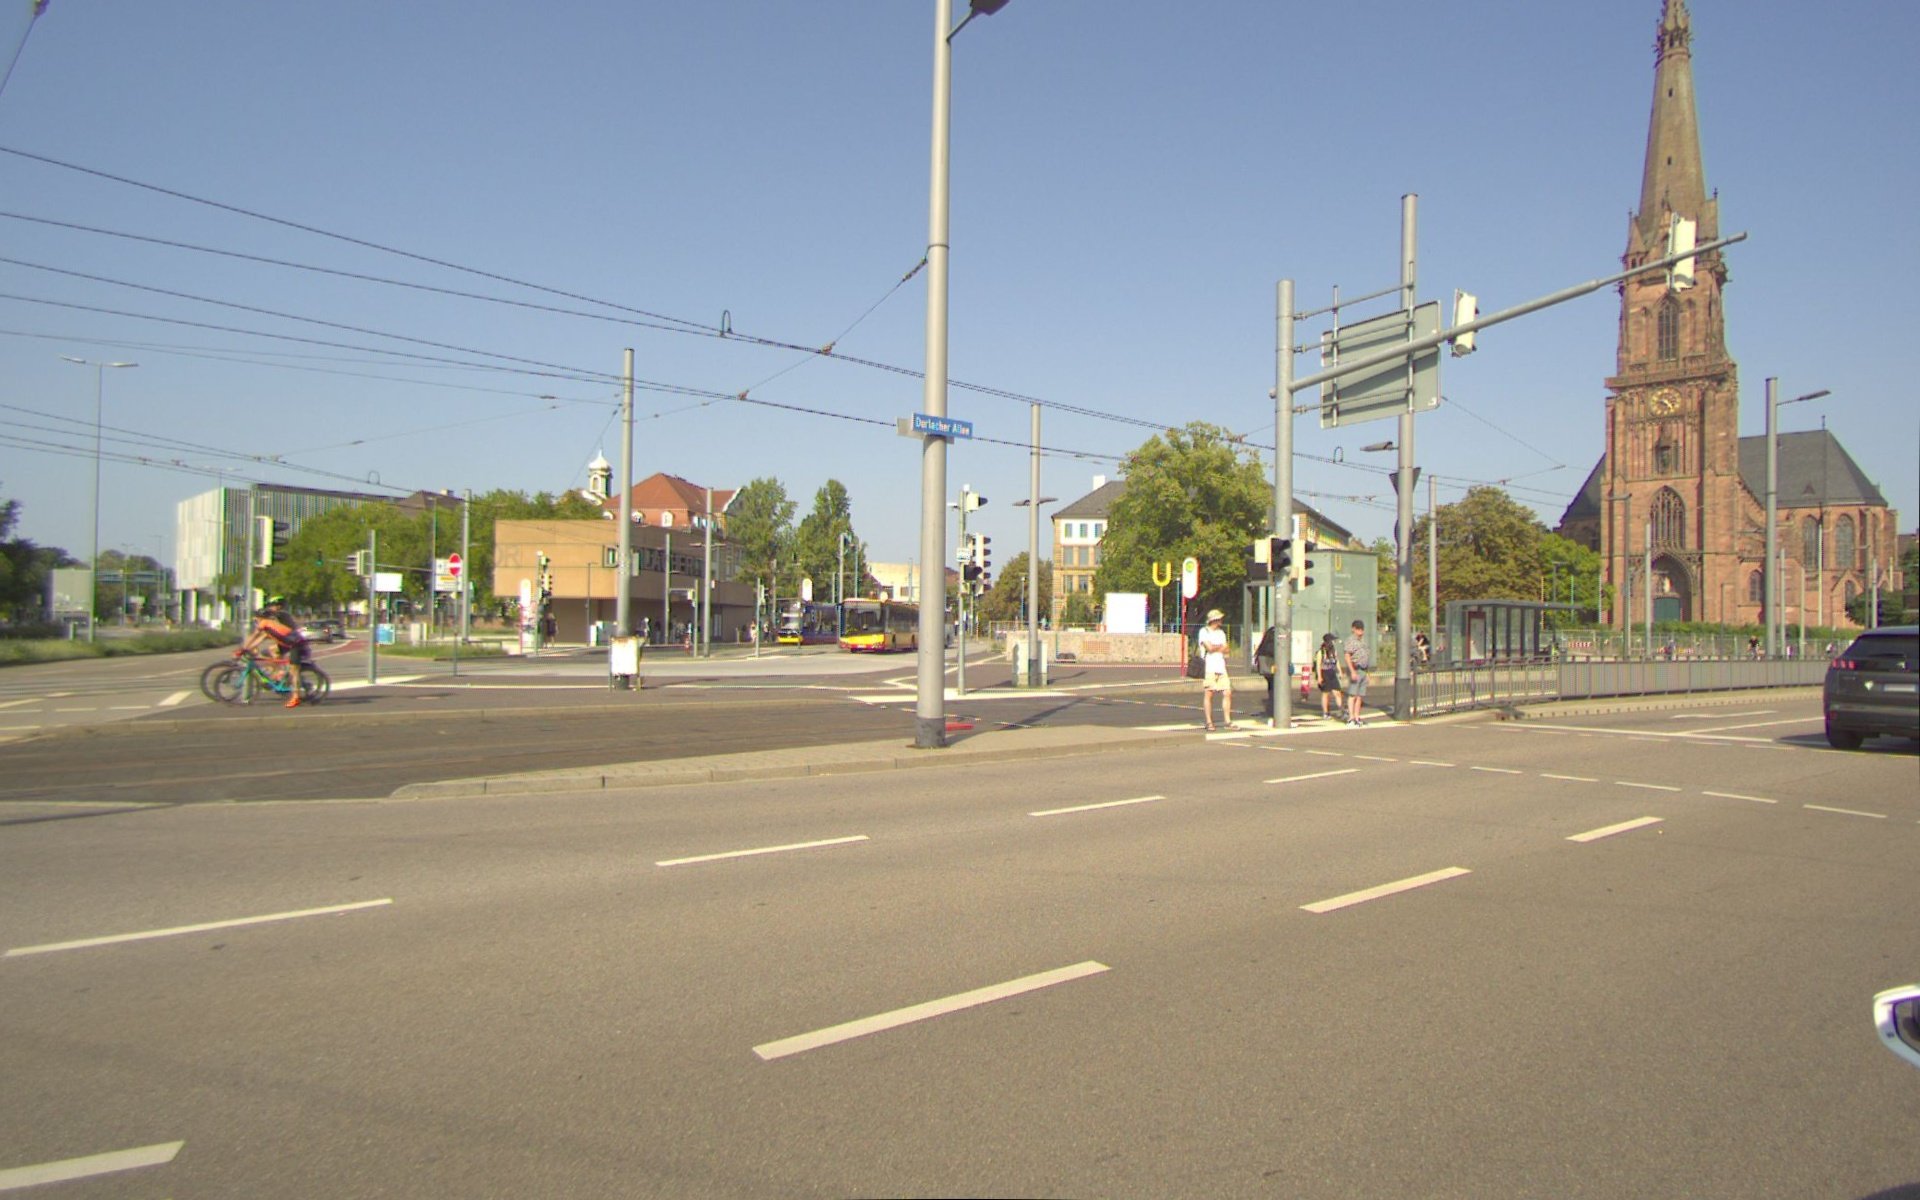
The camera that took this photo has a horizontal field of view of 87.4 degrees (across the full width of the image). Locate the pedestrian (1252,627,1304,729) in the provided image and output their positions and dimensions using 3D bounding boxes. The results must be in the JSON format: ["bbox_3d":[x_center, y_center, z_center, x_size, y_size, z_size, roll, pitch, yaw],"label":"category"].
[{"bbox_3d":[5.197,1.263,16.411,0.463,1.618,0.628,2,-4,-37],"label":"pedestrian"}]

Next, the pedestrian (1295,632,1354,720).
[{"bbox_3d":[6.627,1.377,18.278,0.542,1.568,0.803,2,-4,-34],"label":"pedestrian"}]

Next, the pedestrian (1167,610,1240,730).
[{"bbox_3d":[3.825,1.093,15.785,0.720,1.811,0.830,1,-4,-27],"label":"pedestrian"}]

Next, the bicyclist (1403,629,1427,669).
[{"bbox_3d":[19.020,2.047,41.975,0.783,1.678,0.583,2,-2,-35],"label":"bicyclist"}]

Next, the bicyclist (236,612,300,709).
[{"bbox_3d":[-12.015,1.041,17.460,0.795,1.652,0.509,1,-1,-21],"label":"bicyclist"}]

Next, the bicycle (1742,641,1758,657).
[{"bbox_3d":[48.592,2.992,61.778,1.679,0.966,0.348,2,-2,-35],"label":"bicycle"}]

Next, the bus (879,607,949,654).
[{"bbox_3d":[-3.245,2.291,75.317,3.160,3.220,13.326,0,-2,6],"label":"bus"}]

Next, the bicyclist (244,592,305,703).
[{"bbox_3d":[-12.655,0.864,18.560,0.795,2.000,0.578,1,-1,-21],"label":"bicyclist"}]

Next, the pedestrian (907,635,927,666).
[{"bbox_3d":[-1.858,2.171,43.070,0.752,1.309,0.558,0,-1,8],"label":"pedestrian"}]

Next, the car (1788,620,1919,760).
[{"bbox_3d":[13.004,1.113,13.143,4.305,1.642,1.984,2,-2,-30],"label":"car"}]

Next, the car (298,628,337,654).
[{"bbox_3d":[-40.317,2.558,63.087,1.761,1.528,3.969,2,-2,-29],"label":"car"}]

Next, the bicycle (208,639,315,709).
[{"bbox_3d":[-12.106,1.273,17.439,1.476,1.181,0.310,1,-1,-20],"label":"bicycle"}]

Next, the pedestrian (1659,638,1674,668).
[{"bbox_3d":[40.932,3.092,58.219,0.658,1.723,0.513,2,-2,-36],"label":"pedestrian"}]

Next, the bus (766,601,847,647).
[{"bbox_3d":[-12.422,2.005,82.849,3.160,3.464,13.326,0,-2,6],"label":"bus"}]

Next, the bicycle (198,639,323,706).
[{"bbox_3d":[-12.830,1.317,18.466,1.831,1.181,0.375,1,-1,-20],"label":"bicycle"}]

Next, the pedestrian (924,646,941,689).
[{"bbox_3d":[-1.144,2.864,42.508,0.628,1.783,0.444,0,-1,8],"label":"pedestrian"}]

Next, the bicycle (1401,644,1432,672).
[{"bbox_3d":[19.098,2.410,41.995,1.730,1.124,0.398,2,-2,-37],"label":"bicycle"}]

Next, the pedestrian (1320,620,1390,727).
[{"bbox_3d":[6.497,1.205,16.531,0.645,1.714,0.809,2,-4,-35],"label":"pedestrian"}]

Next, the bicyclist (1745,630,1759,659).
[{"bbox_3d":[48.731,2.721,61.786,0.811,1.770,0.483,2,-2,-35],"label":"bicyclist"}]

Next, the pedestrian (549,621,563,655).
[{"bbox_3d":[-21.472,2.005,53.395,0.395,1.792,0.560,0,-1,11],"label":"pedestrian"}]

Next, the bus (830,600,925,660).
[{"bbox_3d":[-4.686,1.818,60.786,3.160,3.220,13.326,0,-2,6],"label":"bus"}]
